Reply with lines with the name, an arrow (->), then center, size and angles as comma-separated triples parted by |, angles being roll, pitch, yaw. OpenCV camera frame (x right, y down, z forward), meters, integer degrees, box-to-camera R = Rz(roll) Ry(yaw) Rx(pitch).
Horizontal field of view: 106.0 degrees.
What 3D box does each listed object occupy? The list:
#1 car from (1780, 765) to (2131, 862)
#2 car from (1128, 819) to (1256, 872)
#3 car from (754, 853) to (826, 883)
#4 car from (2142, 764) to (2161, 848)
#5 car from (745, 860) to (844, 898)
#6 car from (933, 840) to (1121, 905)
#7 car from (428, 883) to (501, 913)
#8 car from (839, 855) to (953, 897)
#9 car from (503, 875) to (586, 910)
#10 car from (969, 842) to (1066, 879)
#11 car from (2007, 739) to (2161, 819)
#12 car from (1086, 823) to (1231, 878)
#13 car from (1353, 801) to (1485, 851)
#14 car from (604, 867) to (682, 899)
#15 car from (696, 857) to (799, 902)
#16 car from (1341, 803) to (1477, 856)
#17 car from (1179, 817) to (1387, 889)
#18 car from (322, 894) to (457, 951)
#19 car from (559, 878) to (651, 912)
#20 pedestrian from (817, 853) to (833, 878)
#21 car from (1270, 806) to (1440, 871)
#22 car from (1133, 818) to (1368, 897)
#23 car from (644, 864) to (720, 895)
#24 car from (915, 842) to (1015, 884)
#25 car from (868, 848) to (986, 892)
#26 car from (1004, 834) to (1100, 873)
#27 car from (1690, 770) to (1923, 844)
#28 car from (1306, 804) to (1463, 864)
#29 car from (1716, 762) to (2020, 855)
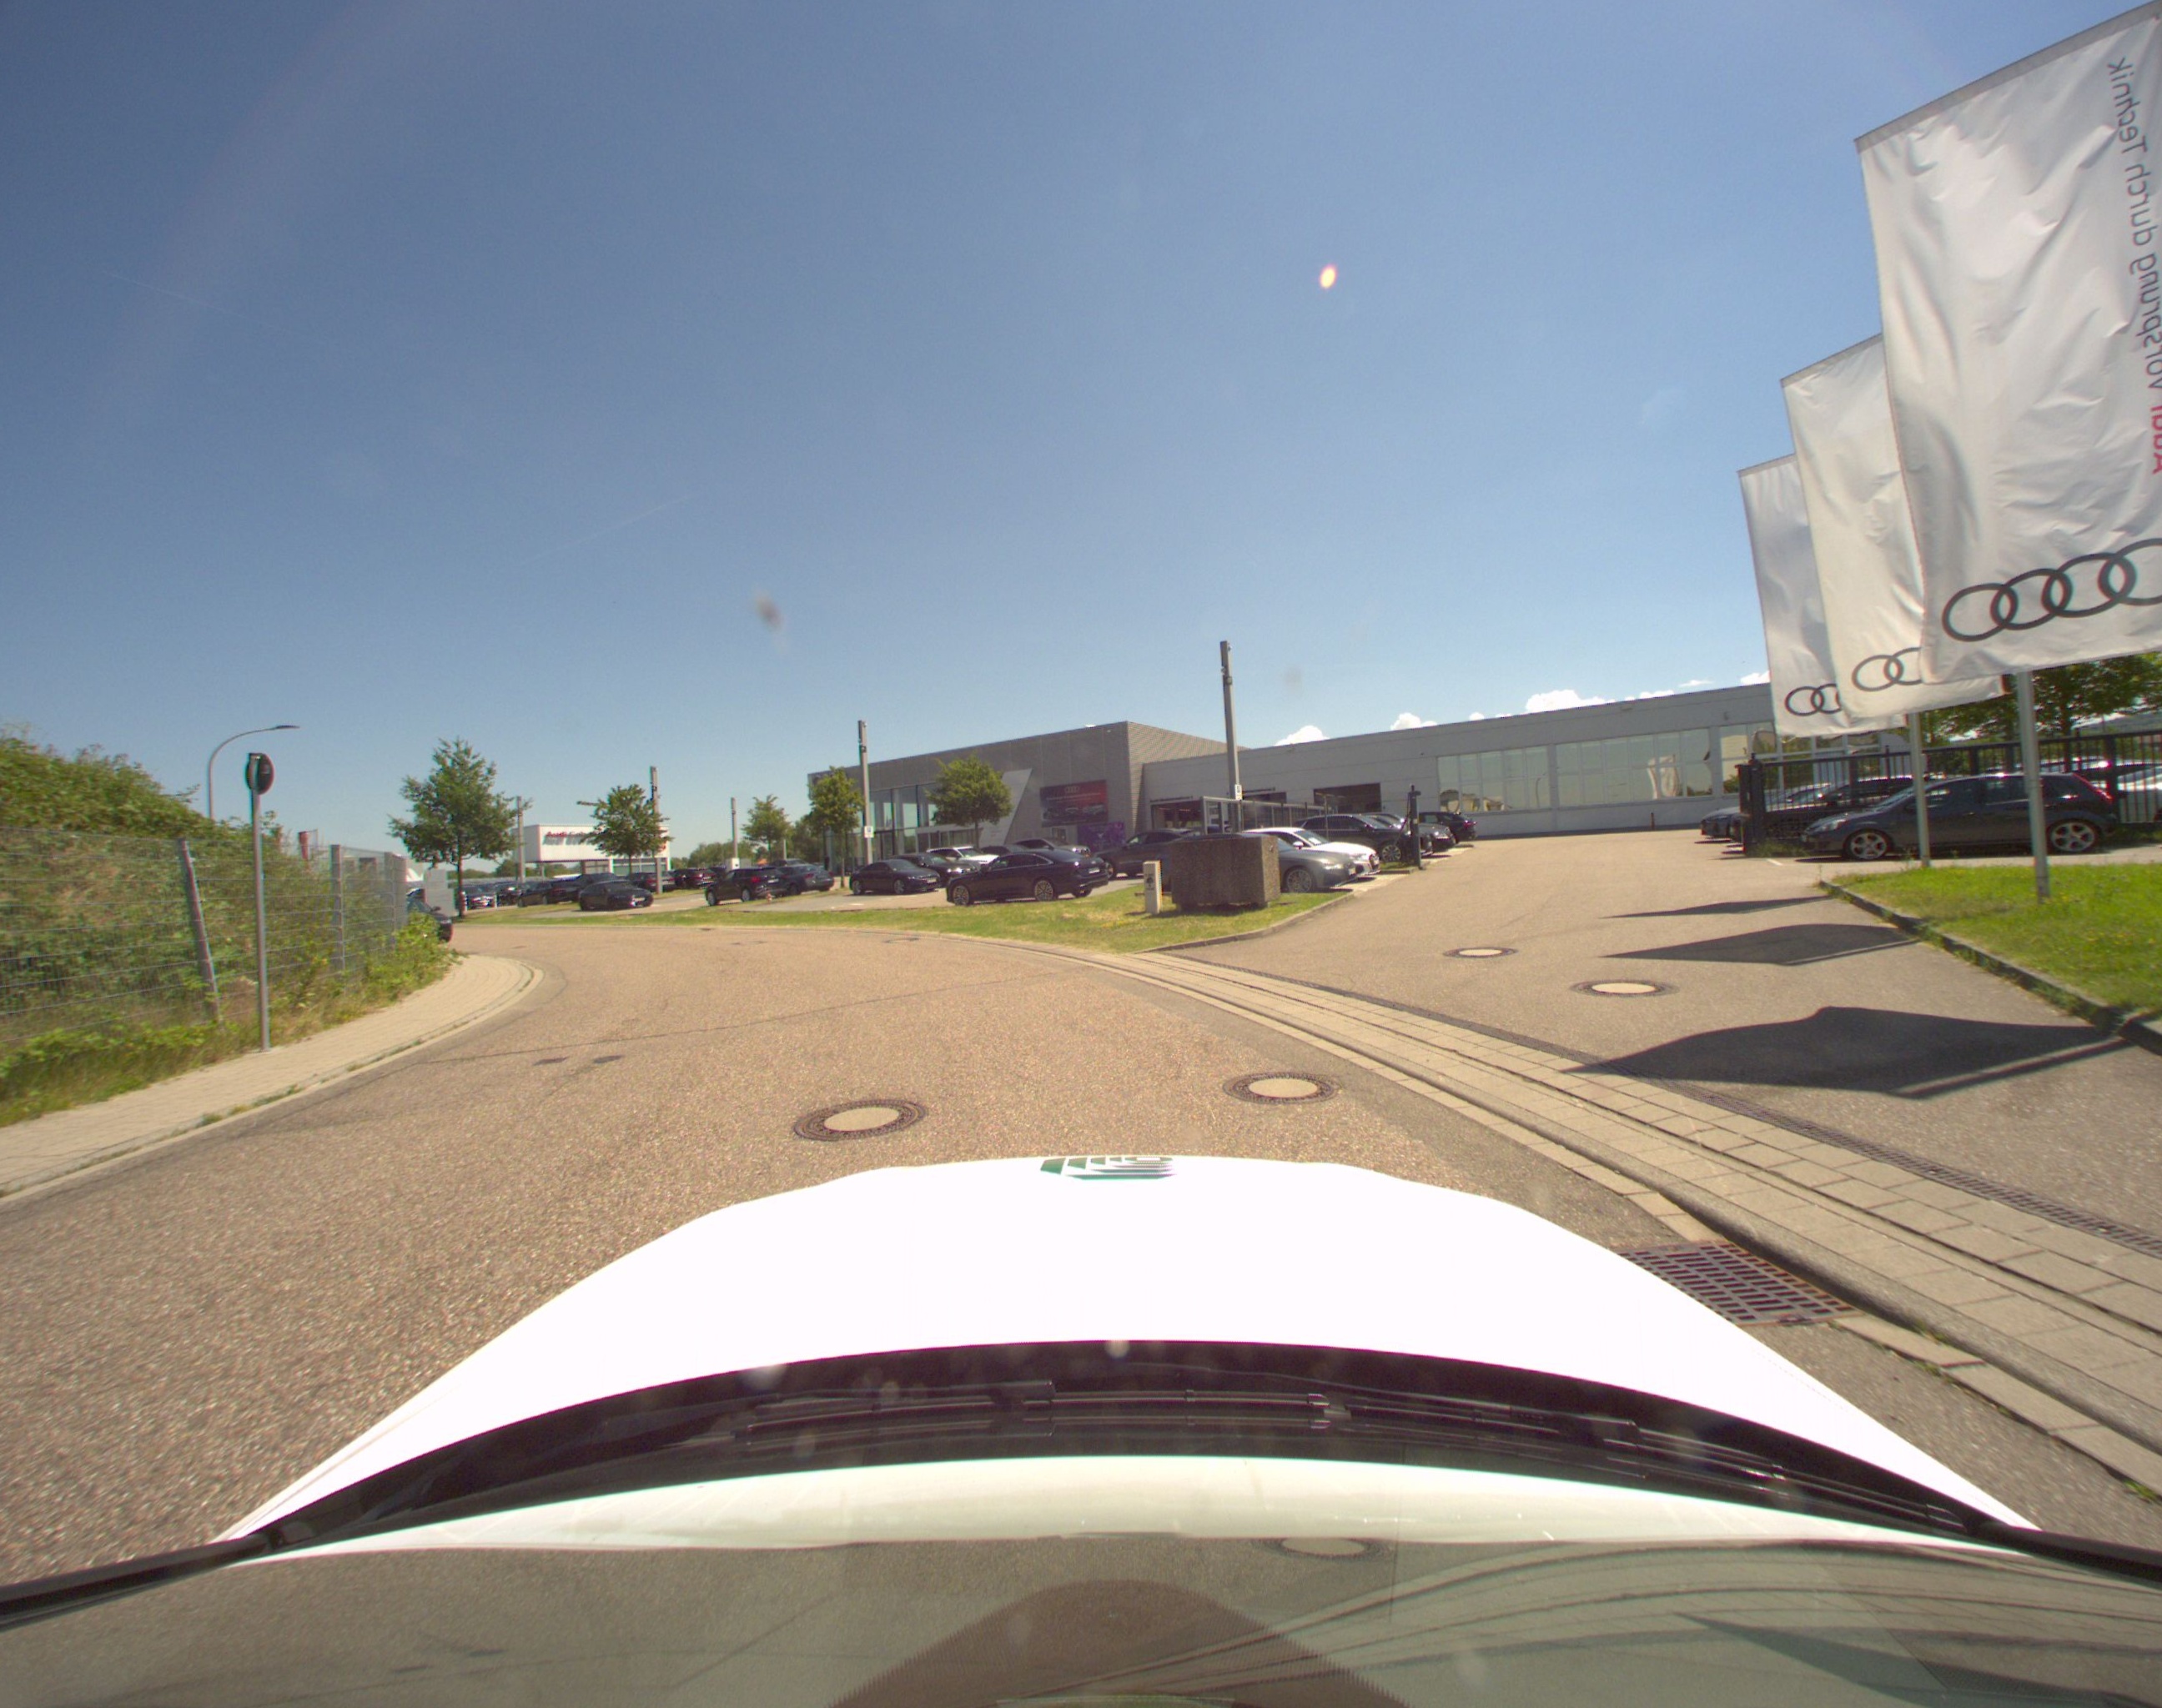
car -> 15.748, -0.687, 15.048 | 4.091, 1.349, 1.792 | -4, 1, 36
car -> 4.209, -0.302, 31.075 | 4.359, 1.694, 1.842 | -4, 0, 33
car -> -19.997, 0.968, 55.961 | 4.921, 1.620, 1.981 | -6, 0, 34
car -> 19.585, -0.906, 11.951 | 4.513, 1.401, 1.792 | -4, 1, 36
car -> -12.970, 1.124, 36.817 | 4.172, 1.366, 1.981 | -4, 2, 33
car -> -1.556, 0.522, 22.570 | 4.958, 1.454, 1.898 | -3, 2, 33
car -> -39.099, 2.794, 51.637 | 5.171, 1.514, 2.045 | -4, 2, 34
car -> -7.486, 0.891, 32.904 | 4.255, 1.374, 1.981 | -4, 1, 33
car -> -29.603, 2.141, 44.861 | 4.921, 1.456, 1.981 | -6, 0, 34
car -> -3.104, 0.323, 39.518 | 4.315, 1.476, 1.981 | -4, 1, 33
car -> 25.173, -1.824, 19.096 | 4.158, 1.630, 1.807 | -4, -1, 33
car -> 2.705, -0.097, 28.881 | 4.723, 1.643, 1.842 | -4, 0, 33
car -> 13.690, -1.128, 33.077 | 4.566, 1.630, 1.981 | -4, 1, 33
car -> -26.430, 1.744, 49.106 | 4.921, 1.456, 1.981 | -6, 0, 34
car -> -14.288, 1.111, 34.840 | 4.172, 1.571, 1.906 | -4, 2, 33
car -> 12.178, -0.906, 30.321 | 4.321, 1.630, 1.981 | -4, 1, 33
car -> 5.244, -0.005, 21.406 | 4.880, 1.528, 1.837 | -4, 1, 33
car -> -21.030, 2.075, 24.715 | 4.521, 1.454, 1.842 | -4, 0, 33
car -> -23.521, 2.026, 40.211 | 4.659, 1.366, 1.981 | -2, 3, 34
pedestrian -> -19.473, 0.877, 61.995 | 0.735, 1.776, 0.778 | -4, 0, 39
car -> 8.450, -0.468, 25.259 | 4.566, 1.630, 1.981 | -4, 1, 33
car -> 3.890, 0.106, 18.998 | 4.880, 1.467, 1.981 | -4, 1, 33
car -> -24.998, 1.578, 50.927 | 4.921, 1.456, 1.981 | -6, 0, 34
car -> -5.398, 0.425, 37.770 | 4.233, 1.613, 1.981 | -4, 1, 33
car -> -6.747, 0.700, 35.547 | 4.940, 1.553, 1.981 | -4, 1, 33
car -> -1.578, -0.029, 43.352 | 4.667, 1.739, 1.981 | -4, 1, 33
car -> 20.094, -1.268, 22.878 | 4.566, 1.630, 1.981 | -4, 1, 33
car -> 10.249, -0.661, 27.584 | 4.566, 1.630, 1.981 | -4, 1, 33
car -> 17.412, -0.960, 18.412 | 4.566, 1.630, 1.981 | -4, 1, 33
